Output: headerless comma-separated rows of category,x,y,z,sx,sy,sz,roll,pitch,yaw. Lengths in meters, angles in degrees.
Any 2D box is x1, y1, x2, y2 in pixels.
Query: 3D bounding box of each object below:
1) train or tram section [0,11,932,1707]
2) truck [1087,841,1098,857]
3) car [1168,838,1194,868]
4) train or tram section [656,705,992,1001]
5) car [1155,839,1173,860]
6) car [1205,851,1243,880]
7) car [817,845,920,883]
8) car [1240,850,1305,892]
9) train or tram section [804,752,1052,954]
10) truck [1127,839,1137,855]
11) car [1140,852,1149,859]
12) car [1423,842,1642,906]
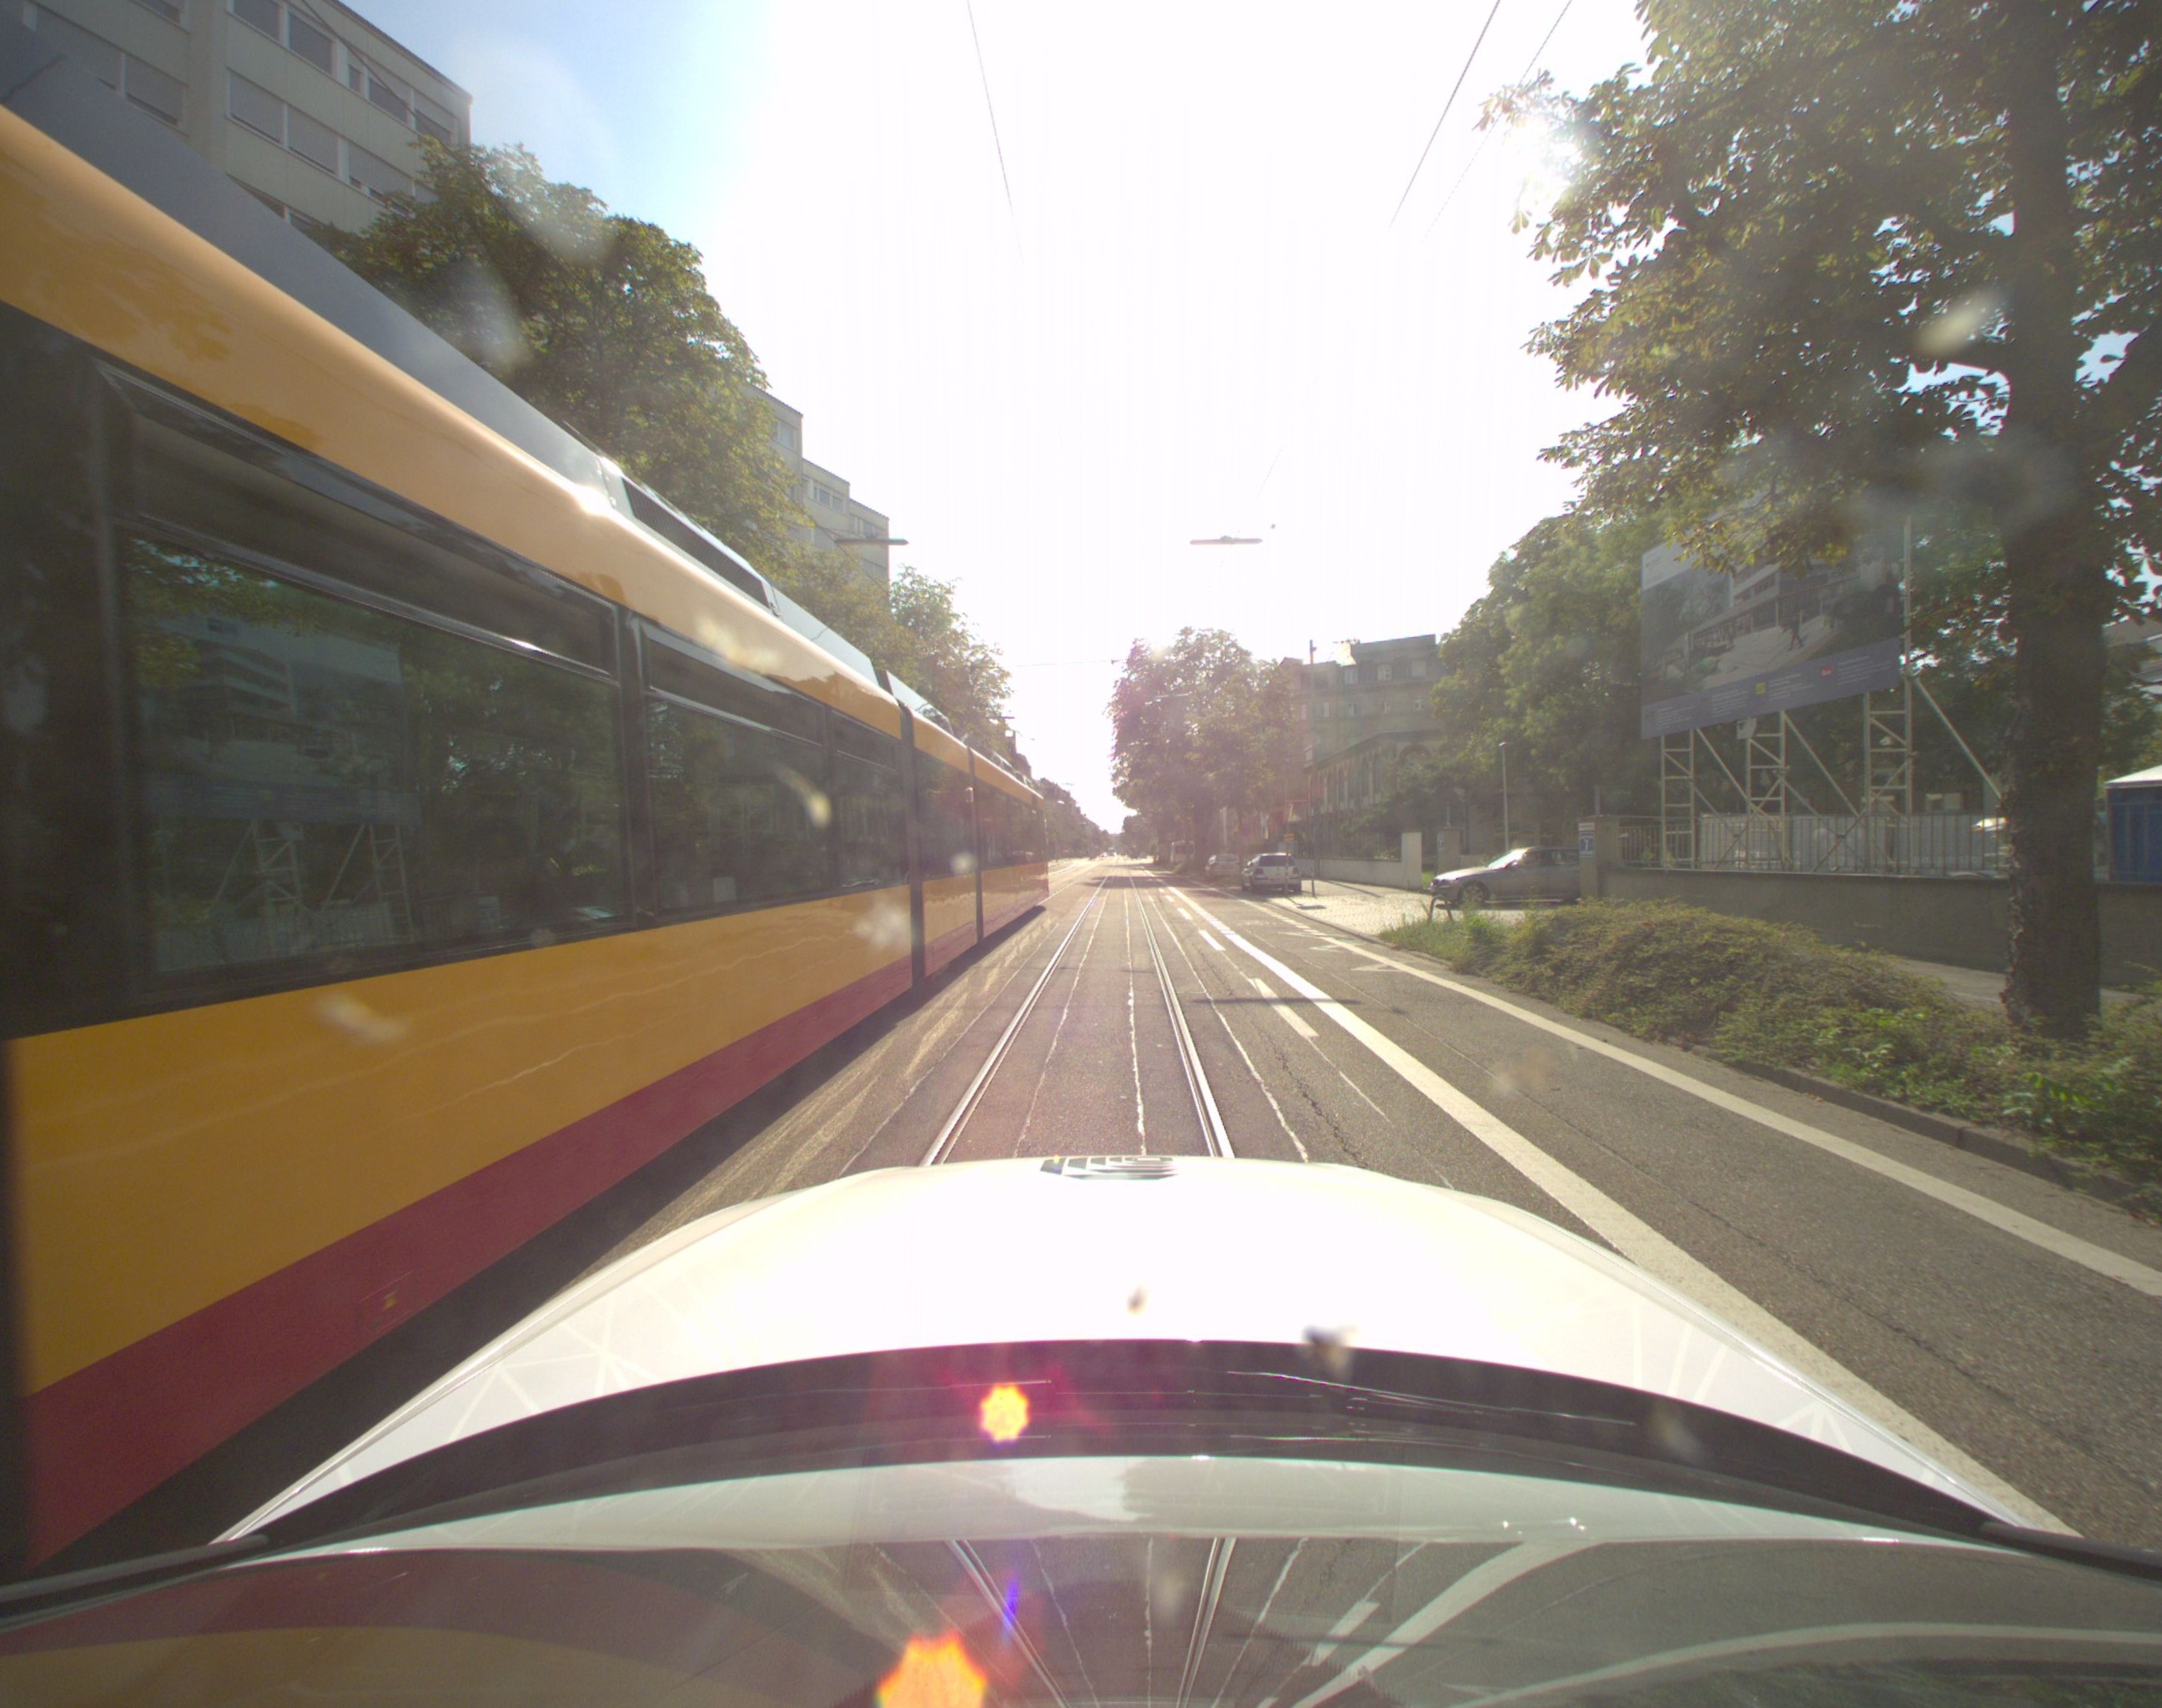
train or tram section,-2.991,0.009,4.672,2.717,2.849,6.548,-1,0,3
truck,2.237,-0.940,160.058,1.986,2.975,4.574,-1,0,2
car,8.688,-0.117,71.193,1.996,2.490,4.482,-1,0,4
train or tram section,-2.727,-0.010,9.810,2.695,2.856,3.652,-1,0,3
car,10.007,-0.548,98.079,1.996,2.475,4.482,-1,0,4
car,7.477,0.581,42.928,1.588,1.418,3.638,-1,0,4
car,-8.569,0.355,32.999,1.550,1.443,3.786,0,0,43
car,6.826,0.558,29.362,1.682,1.418,3.638,-1,0,4
train or tram section,-2.383,-0.027,16.930,2.669,2.861,10.551,-1,0,3
truck,9.982,-1.308,159.706,1.854,3.130,4.353,-1,0,1
car,15.631,0.364,200.932,1.985,1.838,4.005,-1,0,4
car,10.987,0.486,20.125,4.392,1.410,1.811,-1,0,11
